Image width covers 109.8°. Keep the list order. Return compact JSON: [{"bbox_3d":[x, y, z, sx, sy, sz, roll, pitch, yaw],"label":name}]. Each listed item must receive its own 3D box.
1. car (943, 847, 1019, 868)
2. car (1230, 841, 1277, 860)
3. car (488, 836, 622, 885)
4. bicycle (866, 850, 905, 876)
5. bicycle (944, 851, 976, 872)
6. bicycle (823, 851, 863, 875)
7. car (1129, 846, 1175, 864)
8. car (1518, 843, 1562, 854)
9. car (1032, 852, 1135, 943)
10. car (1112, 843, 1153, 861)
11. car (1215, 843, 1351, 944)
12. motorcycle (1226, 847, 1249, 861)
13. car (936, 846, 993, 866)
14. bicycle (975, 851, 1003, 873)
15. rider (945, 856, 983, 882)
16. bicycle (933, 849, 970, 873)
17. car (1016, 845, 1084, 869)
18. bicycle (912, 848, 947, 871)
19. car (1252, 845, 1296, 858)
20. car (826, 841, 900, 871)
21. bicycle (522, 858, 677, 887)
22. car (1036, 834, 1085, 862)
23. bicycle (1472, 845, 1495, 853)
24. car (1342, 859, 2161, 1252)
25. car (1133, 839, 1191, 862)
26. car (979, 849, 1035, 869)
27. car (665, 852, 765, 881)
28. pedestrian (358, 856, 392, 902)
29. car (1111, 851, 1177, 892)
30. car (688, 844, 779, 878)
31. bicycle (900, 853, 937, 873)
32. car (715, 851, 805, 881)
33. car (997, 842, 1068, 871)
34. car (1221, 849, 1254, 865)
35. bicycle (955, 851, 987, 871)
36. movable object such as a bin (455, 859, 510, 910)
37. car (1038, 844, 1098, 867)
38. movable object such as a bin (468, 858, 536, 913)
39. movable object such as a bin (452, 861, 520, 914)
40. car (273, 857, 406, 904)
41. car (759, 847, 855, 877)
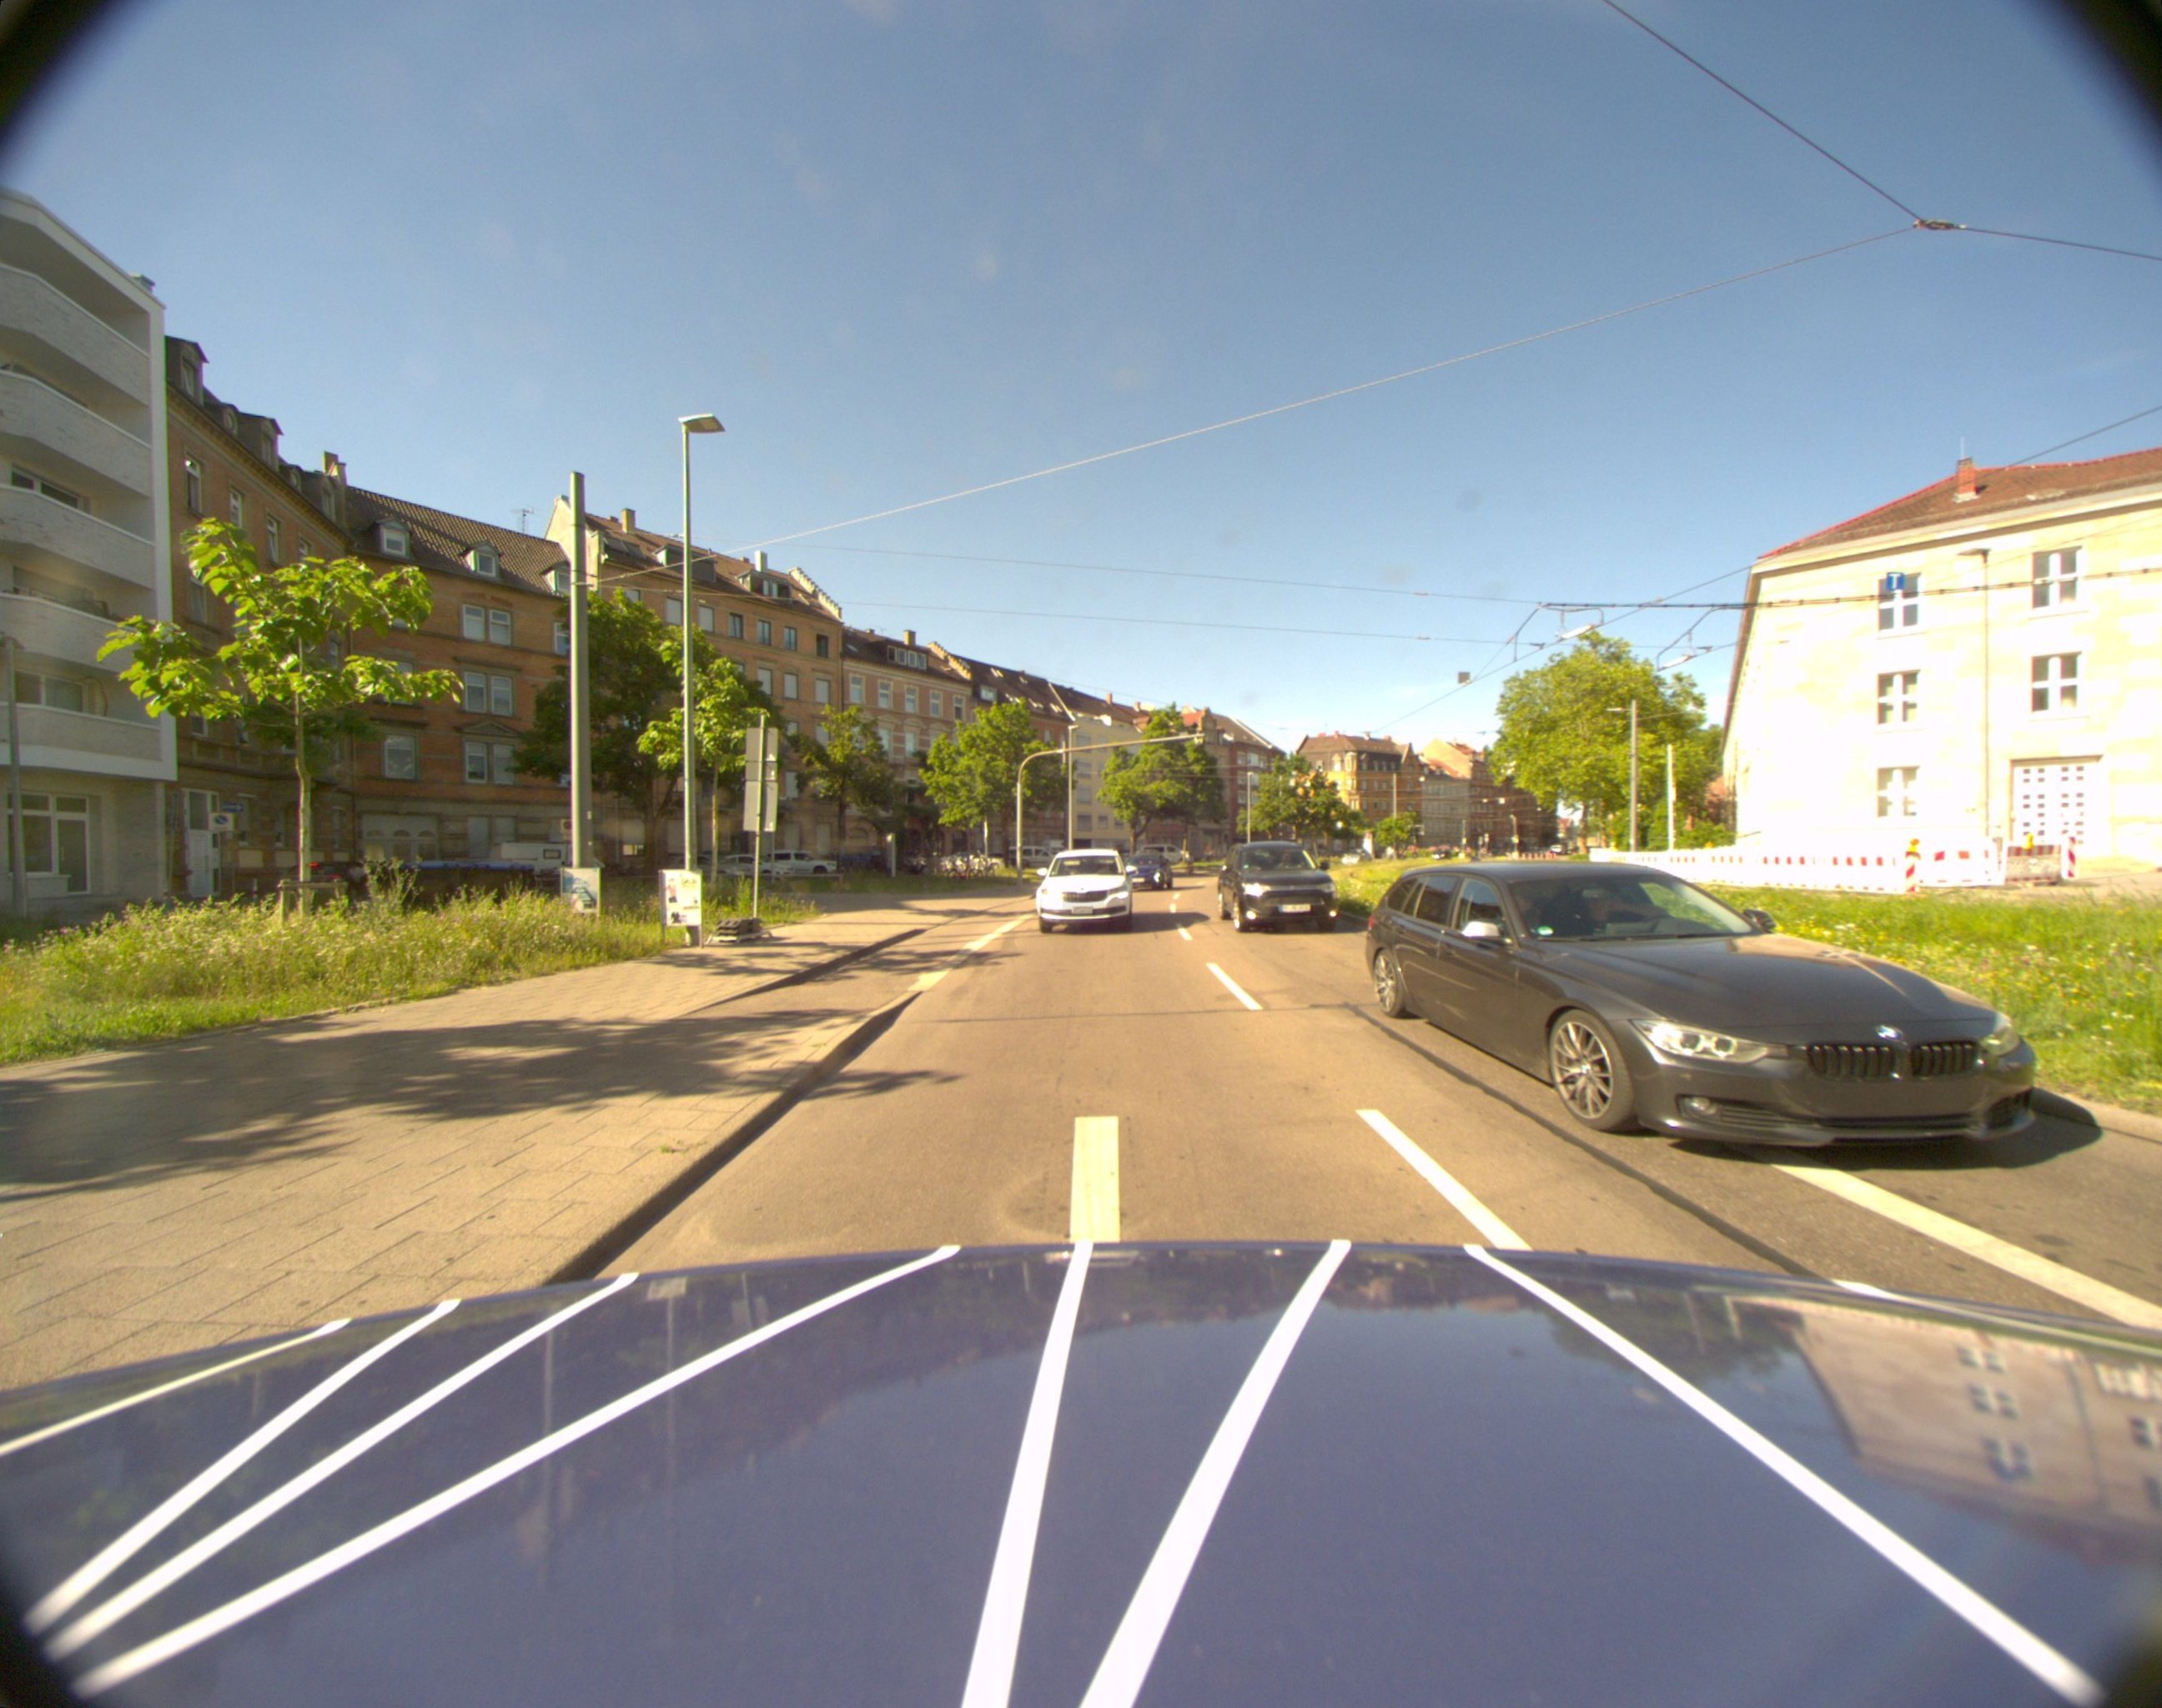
[{"bbox_3d":[-6.699,0.223,51.147,4.747,1.372,2.047,-1,0,5],"label":"car"},{"bbox_3d":[19.133,-0.376,84.530,4.875,2.063,2.021,1,1,4],"label":"car"},{"bbox_3d":[-26.969,0.309,39.120,2.349,2.344,5.199,2,1,40],"label":"car"},{"bbox_3d":[-11.068,0.505,43.039,2.094,1.390,0.789,-1,1,28],"label":"bicycle"},{"bbox_3d":[-7.369,0.447,46.362,1.957,1.185,0.843,2,2,39],"label":"bicycle"},{"bbox_3d":[-14.150,0.529,45.267,2.099,1.357,0.787,-1,1,-2],"label":"bicycle"},{"bbox_3d":[6.378,0.080,67.912,4.025,1.470,1.813,1,2,5],"label":"car"},{"bbox_3d":[64.698,-0.761,107.193,1.839,1.445,4.946,-1,1,-40],"label":"car"},{"bbox_3d":[0.208,0.801,16.253,1.800,1.626,4.395,-1,1,5],"label":"car"},{"bbox_3d":[5.518,-0.234,80.845,1.994,1.789,4.636,2,1,39],"label":"car"},{"bbox_3d":[3.841,0.667,15.272,1.840,1.672,4.644,-2,0,5],"label":"car"},{"bbox_3d":[16.872,0.018,81.945,2.262,1.412,0.854,0,1,-10],"label":"motorcycle"},{"bbox_3d":[-9.531,0.162,62.326,1.994,1.520,4.522,2,1,35],"label":"car"},{"bbox_3d":[-5.528,0.489,45.683,1.598,1.283,0.769,0,1,-11],"label":"bicycle"},{"bbox_3d":[-5.604,0.708,36.457,1.678,1.169,0.502,-4,3,-34],"label":"rider"},{"bbox_3d":[-7.524,0.383,44.017,2.094,1.357,0.789,-1,1,34],"label":"bicycle"},{"bbox_3d":[-2.377,0.203,58.622,4.872,1.639,2.102,1,2,10],"label":"car"},{"bbox_3d":[-9.086,0.347,45.673,2.094,1.357,0.789,-1,1,34],"label":"bicycle"},{"bbox_3d":[22.864,-0.278,90.261,4.874,1.427,2.021,1,1,6],"label":"car"},{"bbox_3d":[-15.434,0.120,54.027,1.994,1.966,4.734,2,1,39],"label":"car"},{"bbox_3d":[-21.482,0.778,34.148,2.676,1.120,5.232,-1,0,34],"label":"bicycle"},{"bbox_3d":[-1.907,-0.582,71.710,1.994,2.570,4.522,2,1,40],"label":"car"},{"bbox_3d":[73.672,-0.837,139.038,1.964,1.408,6.841,0,1,43],"label":"bicycle"},{"bbox_3d":[3.461,0.825,5.271,1.738,1.415,4.467,-4,0,1],"label":"car"},{"bbox_3d":[7.551,-0.321,70.546,5.179,2.002,2.102,1,2,10],"label":"car"},{"bbox_3d":[-5.169,0.334,53.487,3.610,1.372,1.926,-1,0,6],"label":"car"},{"bbox_3d":[-17.606,0.605,36.615,4.049,1.329,1.841,-1,0,14],"label":"car"},{"bbox_3d":[-24.844,0.880,26.738,0.641,1.568,0.773,0,1,39],"label":"pedestrian"},{"bbox_3d":[2.741,0.685,32.136,1.996,1.608,4.268,-1,0,15],"label":"car"},{"bbox_3d":[-21.290,0.383,46.711,1.994,1.966,4.734,2,1,39],"label":"car"},{"bbox_3d":[-9.603,0.528,44.845,2.163,1.152,0.824,-1,1,35],"label":"bicycle"},{"bbox_3d":[-16.357,0.606,38.772,3.838,1.433,1.761,-1,0,8],"label":"car"},{"bbox_3d":[-3.543,0.126,56.049,4.874,2.002,2.101,1,2,5],"label":"car"},{"bbox_3d":[20.248,0.358,98.438,1.997,1.464,4.497,-13,-5,42],"label":"car"},{"bbox_3d":[-6.840,0.430,47.124,1.945,1.174,0.902,1,2,38],"label":"bicycle"},{"bbox_3d":[-17.218,0.857,21.898,1.092,1.390,1.029,-1,1,-31],"label":"movable object such as a bin"},{"bbox_3d":[-1.017,0.094,61.222,4.505,1.718,2.001,1,2,10],"label":"car"},{"bbox_3d":[-15.395,0.804,20.263,1.306,1.390,1.069,-1,1,-31],"label":"movable object such as a bin"},{"bbox_3d":[-16.370,0.892,20.944,1.323,1.390,1.108,-1,1,-31],"label":"movable object such as a bin"},{"bbox_3d":[-25.853,0.861,26.689,2.002,1.428,4.099,-2,1,-24],"label":"car"},{"bbox_3d":[-14.771,0.438,41.071,4.464,1.556,1.939,-1,0,8],"label":"car"}]
